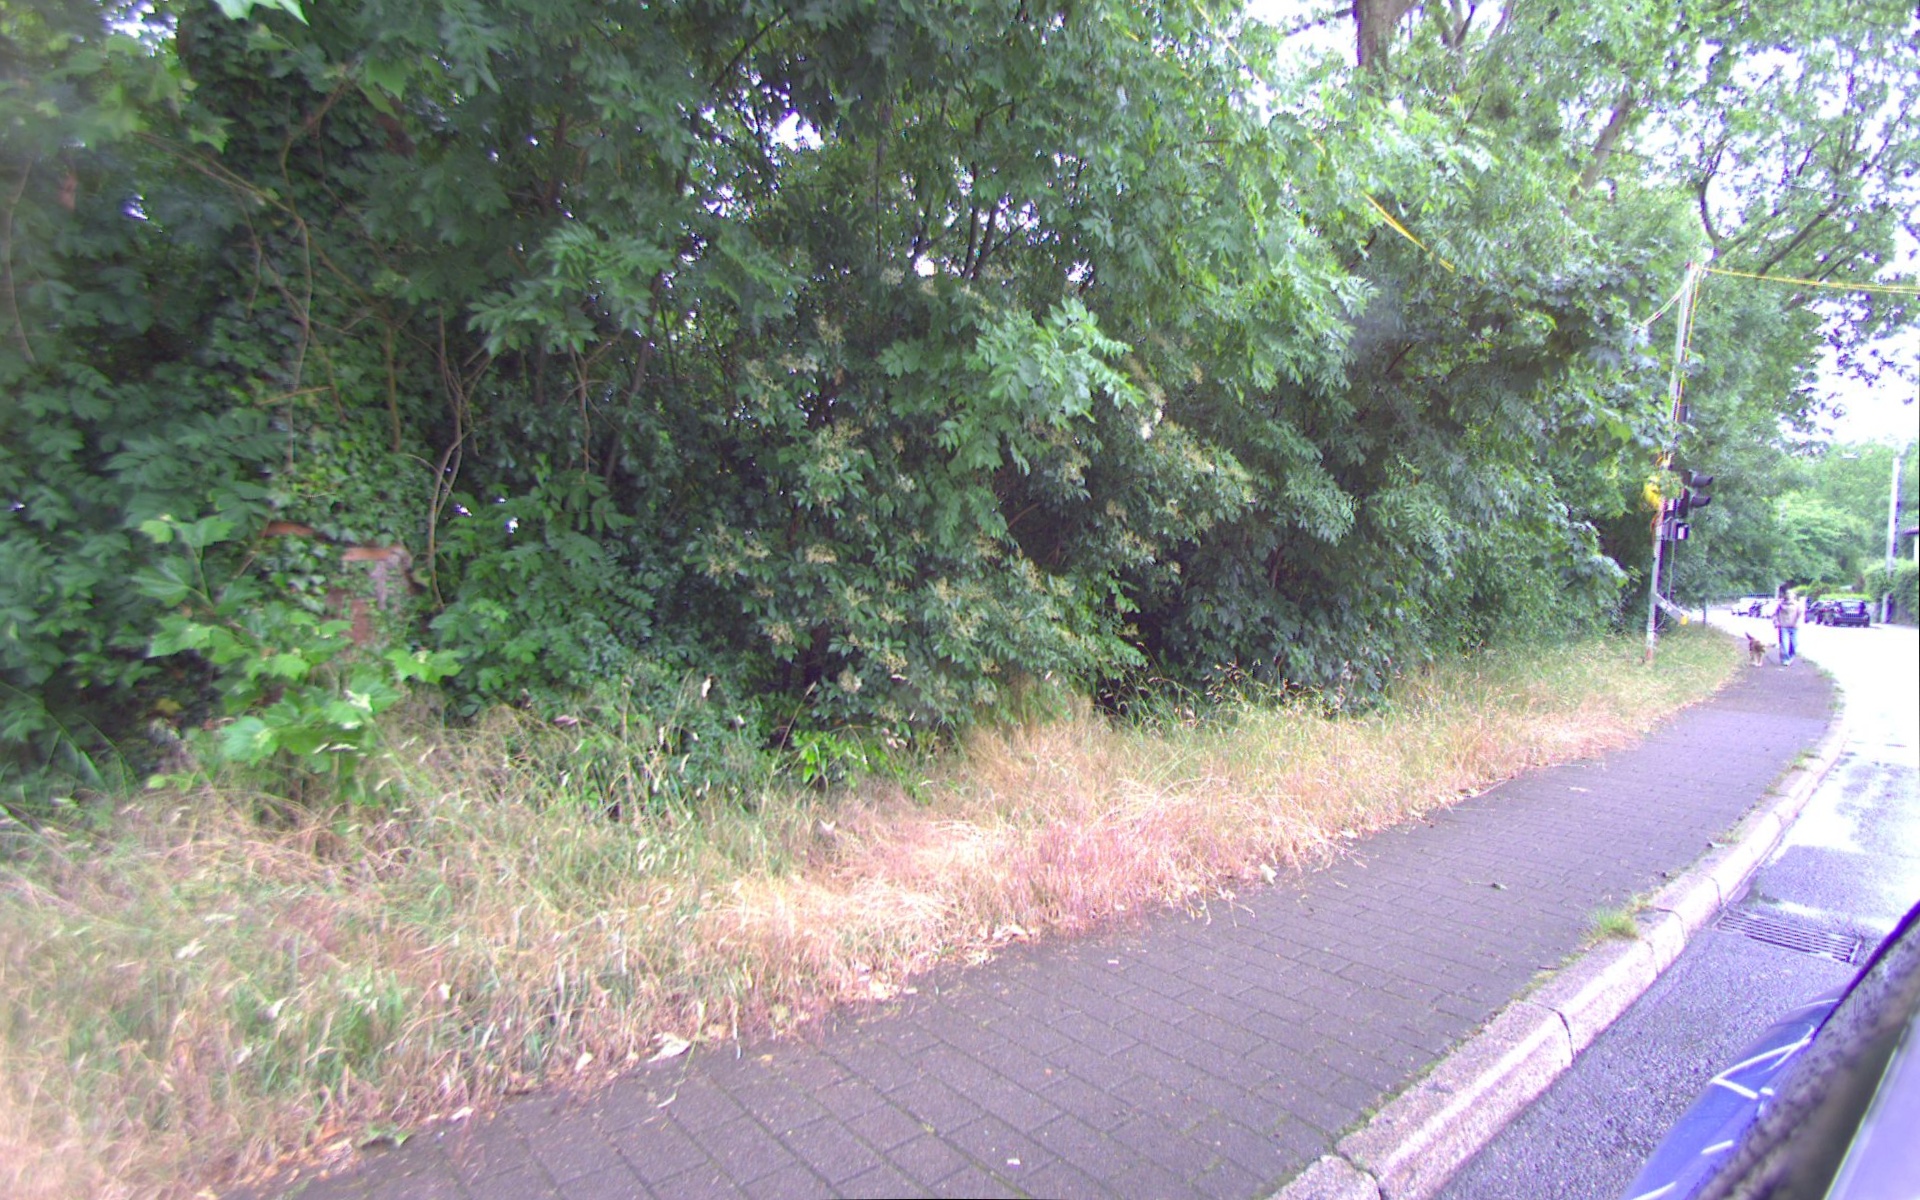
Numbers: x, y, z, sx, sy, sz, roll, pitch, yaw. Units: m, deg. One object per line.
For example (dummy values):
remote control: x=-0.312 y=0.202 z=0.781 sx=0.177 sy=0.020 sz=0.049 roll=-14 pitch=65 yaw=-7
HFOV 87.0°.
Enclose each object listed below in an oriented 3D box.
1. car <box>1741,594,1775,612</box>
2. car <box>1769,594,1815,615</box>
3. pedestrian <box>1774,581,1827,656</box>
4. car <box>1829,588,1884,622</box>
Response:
car: x=64.942 y=0.223 z=82.371 sx=1.676 sy=1.445 sz=3.734 roll=1 pitch=1 yaw=31
car: x=60.749 y=0.300 z=73.918 sx=2.055 sy=1.504 sz=4.508 roll=1 pitch=1 yaw=33
pedestrian: x=17.522 y=0.383 z=21.096 sx=0.771 sy=1.518 sz=0.734 roll=0 pitch=-1 yaw=-42
car: x=51.062 y=0.284 z=57.706 sx=1.869 sy=1.848 sz=4.075 roll=1 pitch=1 yaw=35
